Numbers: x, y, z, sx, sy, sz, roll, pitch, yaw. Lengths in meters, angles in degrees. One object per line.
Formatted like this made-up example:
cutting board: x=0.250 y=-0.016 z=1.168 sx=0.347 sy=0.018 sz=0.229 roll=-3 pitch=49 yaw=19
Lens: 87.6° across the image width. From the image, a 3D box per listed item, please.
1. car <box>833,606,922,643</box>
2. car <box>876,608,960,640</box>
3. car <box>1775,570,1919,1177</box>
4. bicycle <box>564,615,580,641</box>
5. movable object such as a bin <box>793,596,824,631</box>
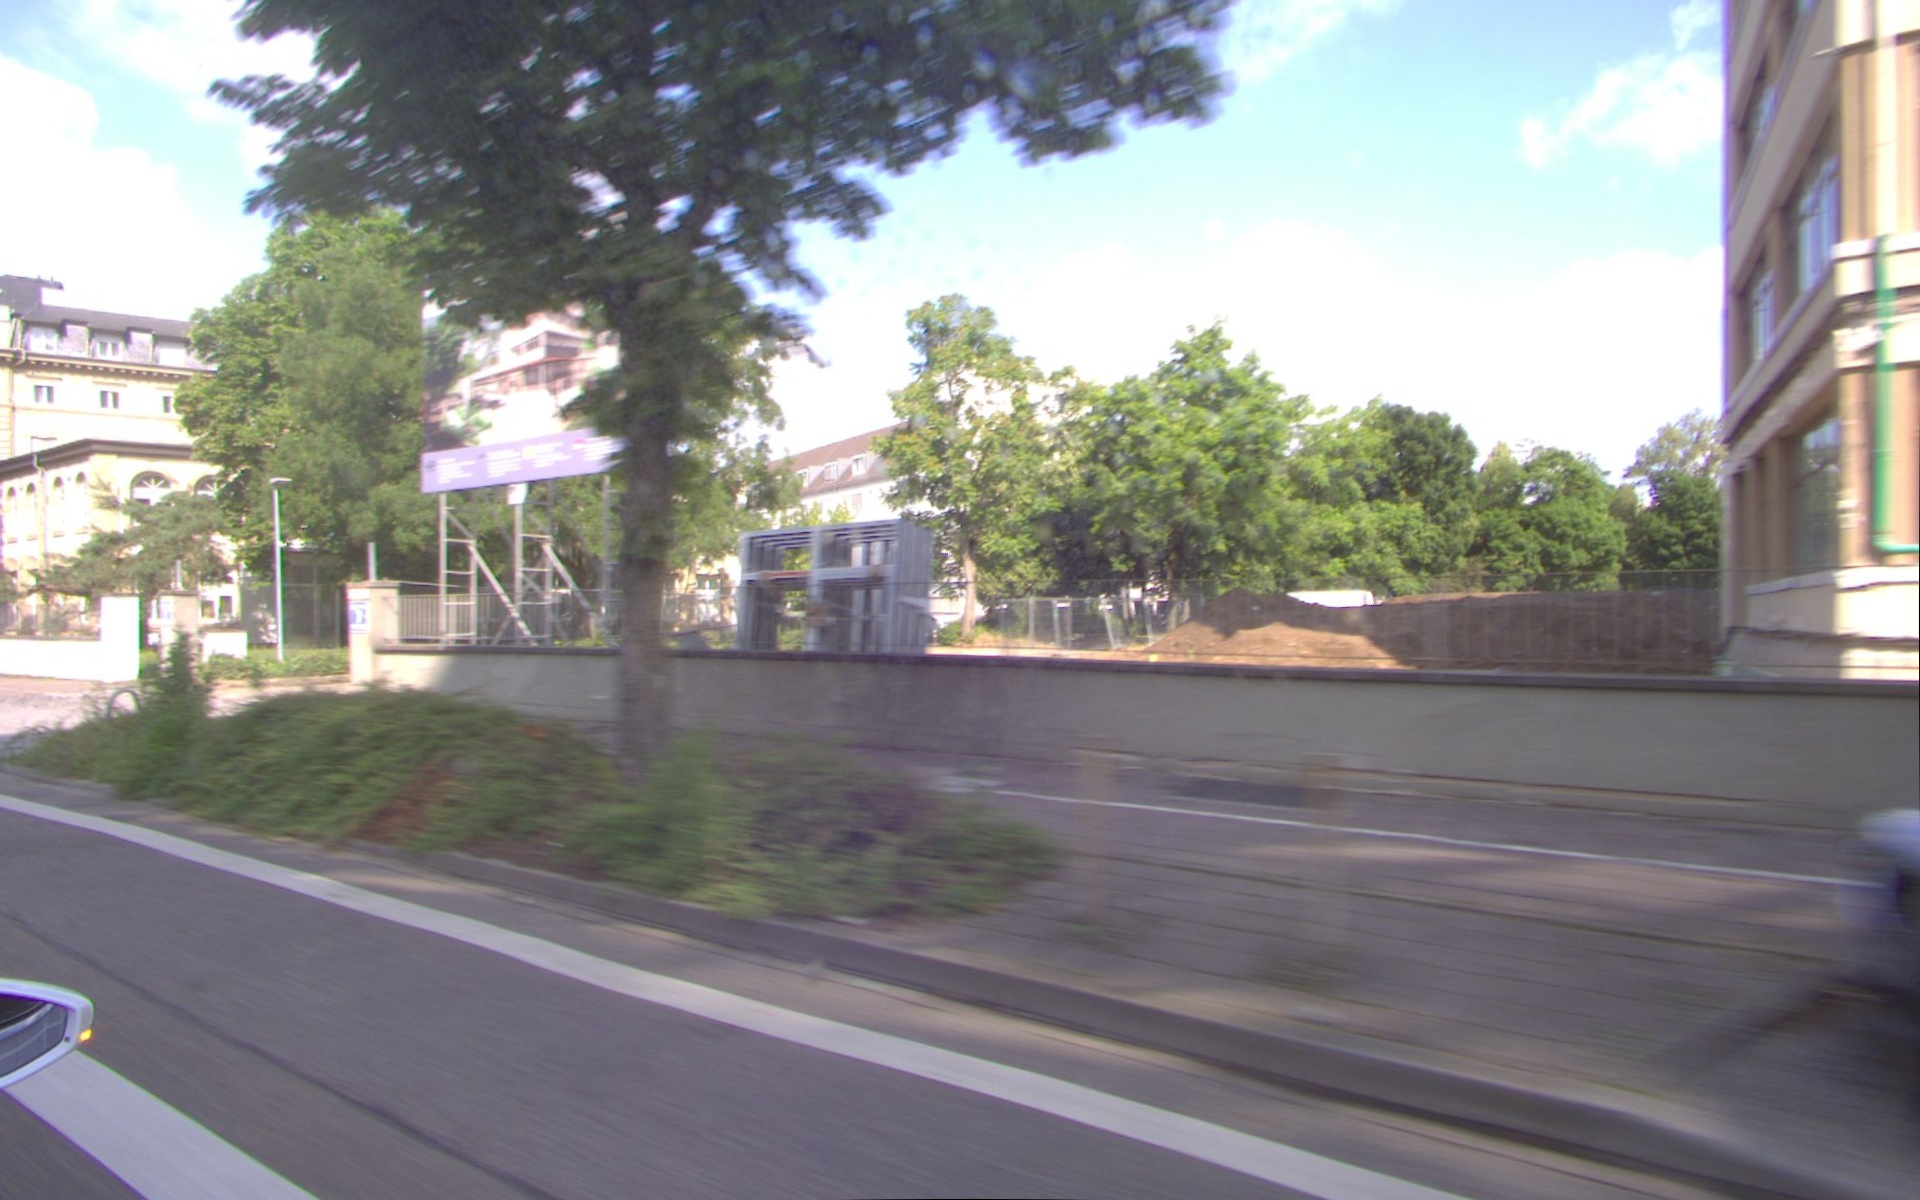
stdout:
car: x=-4.921 y=1.475 z=59.770 sx=4.881 sy=1.988 sz=1.992 roll=-1 pitch=-3 yaw=-29
car: x=-2.128 y=1.200 z=51.111 sx=3.860 sy=1.438 sz=1.750 roll=-2 pitch=-1 yaw=-31
car: x=4.835 y=0.738 z=2.281 sx=4.394 sy=1.628 sz=1.761 roll=0 pitch=0 yaw=32
bicycle: x=-17.109 y=1.240 z=44.134 sx=0.413 sy=1.070 sz=2.059 roll=-3 pitch=0 yaw=-26
movable object such as a bin: x=-6.513 y=0.578 z=43.069 sx=0.869 sy=1.470 sz=1.225 roll=1 pitch=-2 yaw=-36
